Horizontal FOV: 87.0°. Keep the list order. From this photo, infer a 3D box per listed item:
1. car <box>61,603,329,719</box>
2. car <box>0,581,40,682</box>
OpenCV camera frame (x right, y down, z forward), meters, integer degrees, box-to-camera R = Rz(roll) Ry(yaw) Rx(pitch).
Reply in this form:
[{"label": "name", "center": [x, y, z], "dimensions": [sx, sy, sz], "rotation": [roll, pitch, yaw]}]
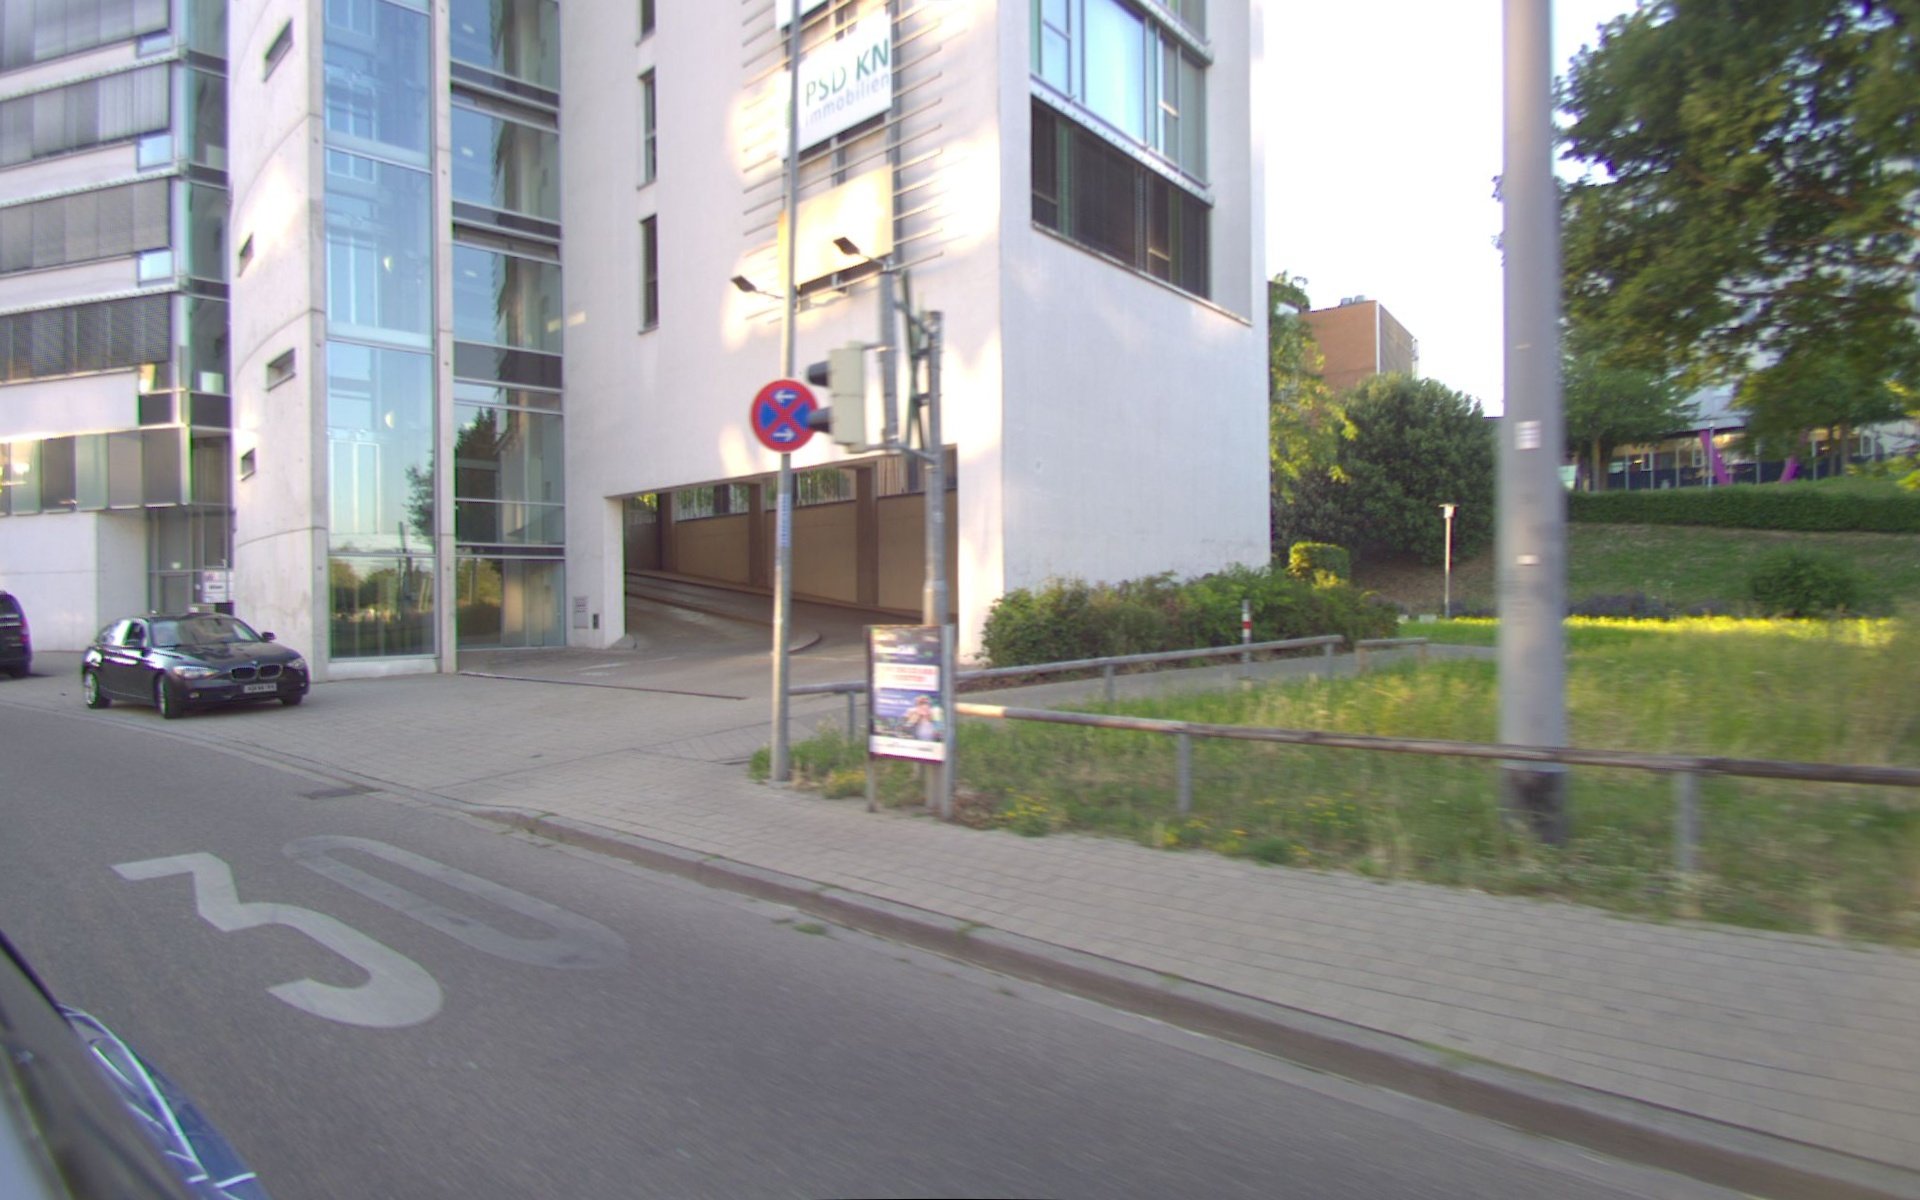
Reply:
[{"label": "car", "center": [-11.503, 0.822, 15.158], "dimensions": [4.215, 1.453, 1.838], "rotation": [-1, 2, 33]}, {"label": "car", "center": [-21.163, 0.673, 20.959], "dimensions": [4.501, 1.987, 1.875], "rotation": [-1, 2, 31]}]
